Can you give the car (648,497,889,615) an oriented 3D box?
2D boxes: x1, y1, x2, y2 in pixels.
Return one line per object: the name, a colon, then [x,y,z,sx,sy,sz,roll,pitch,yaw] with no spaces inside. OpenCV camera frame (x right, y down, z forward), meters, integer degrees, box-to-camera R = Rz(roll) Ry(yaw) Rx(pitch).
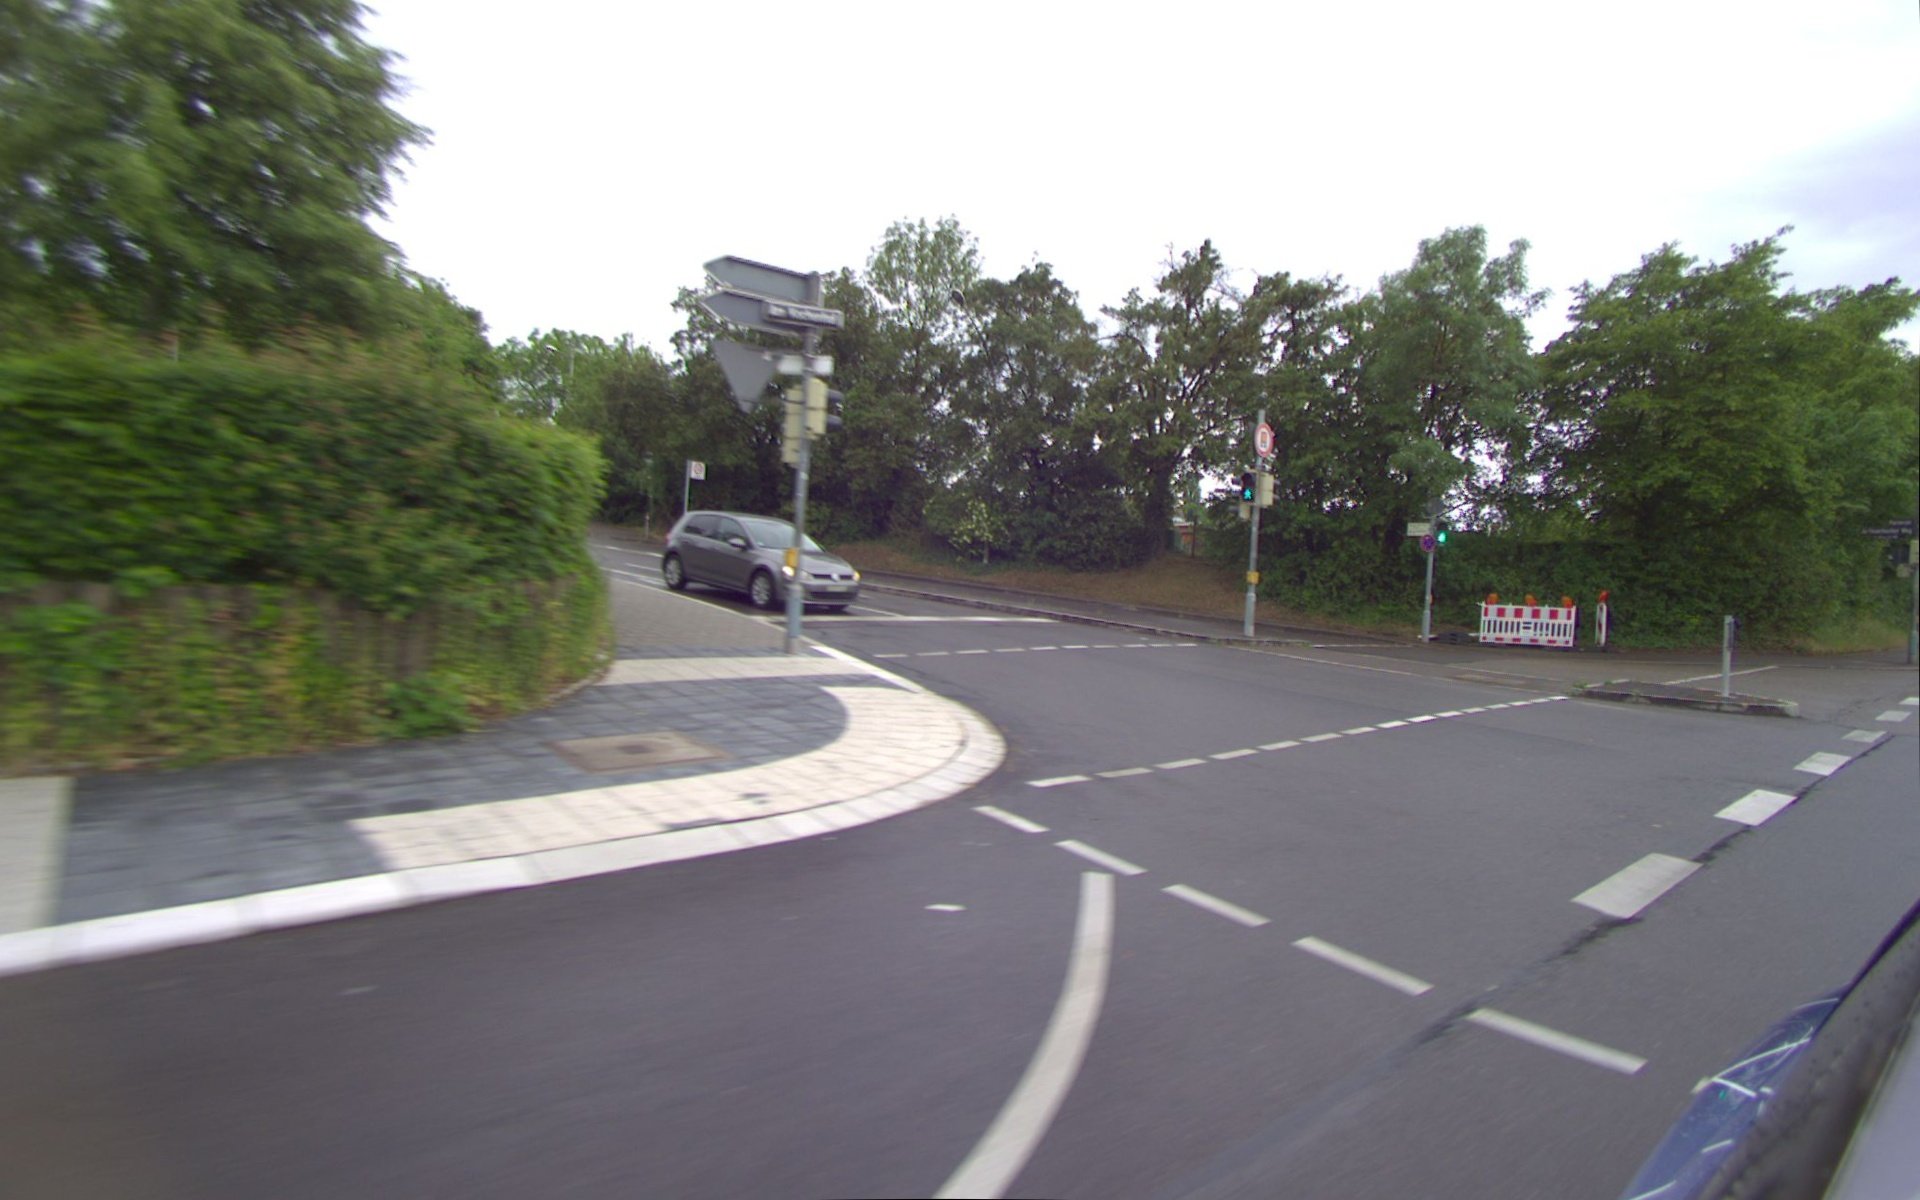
car: [-3.345,-0.804,17.282,4.075,1.470,1.863,11,7,41]
